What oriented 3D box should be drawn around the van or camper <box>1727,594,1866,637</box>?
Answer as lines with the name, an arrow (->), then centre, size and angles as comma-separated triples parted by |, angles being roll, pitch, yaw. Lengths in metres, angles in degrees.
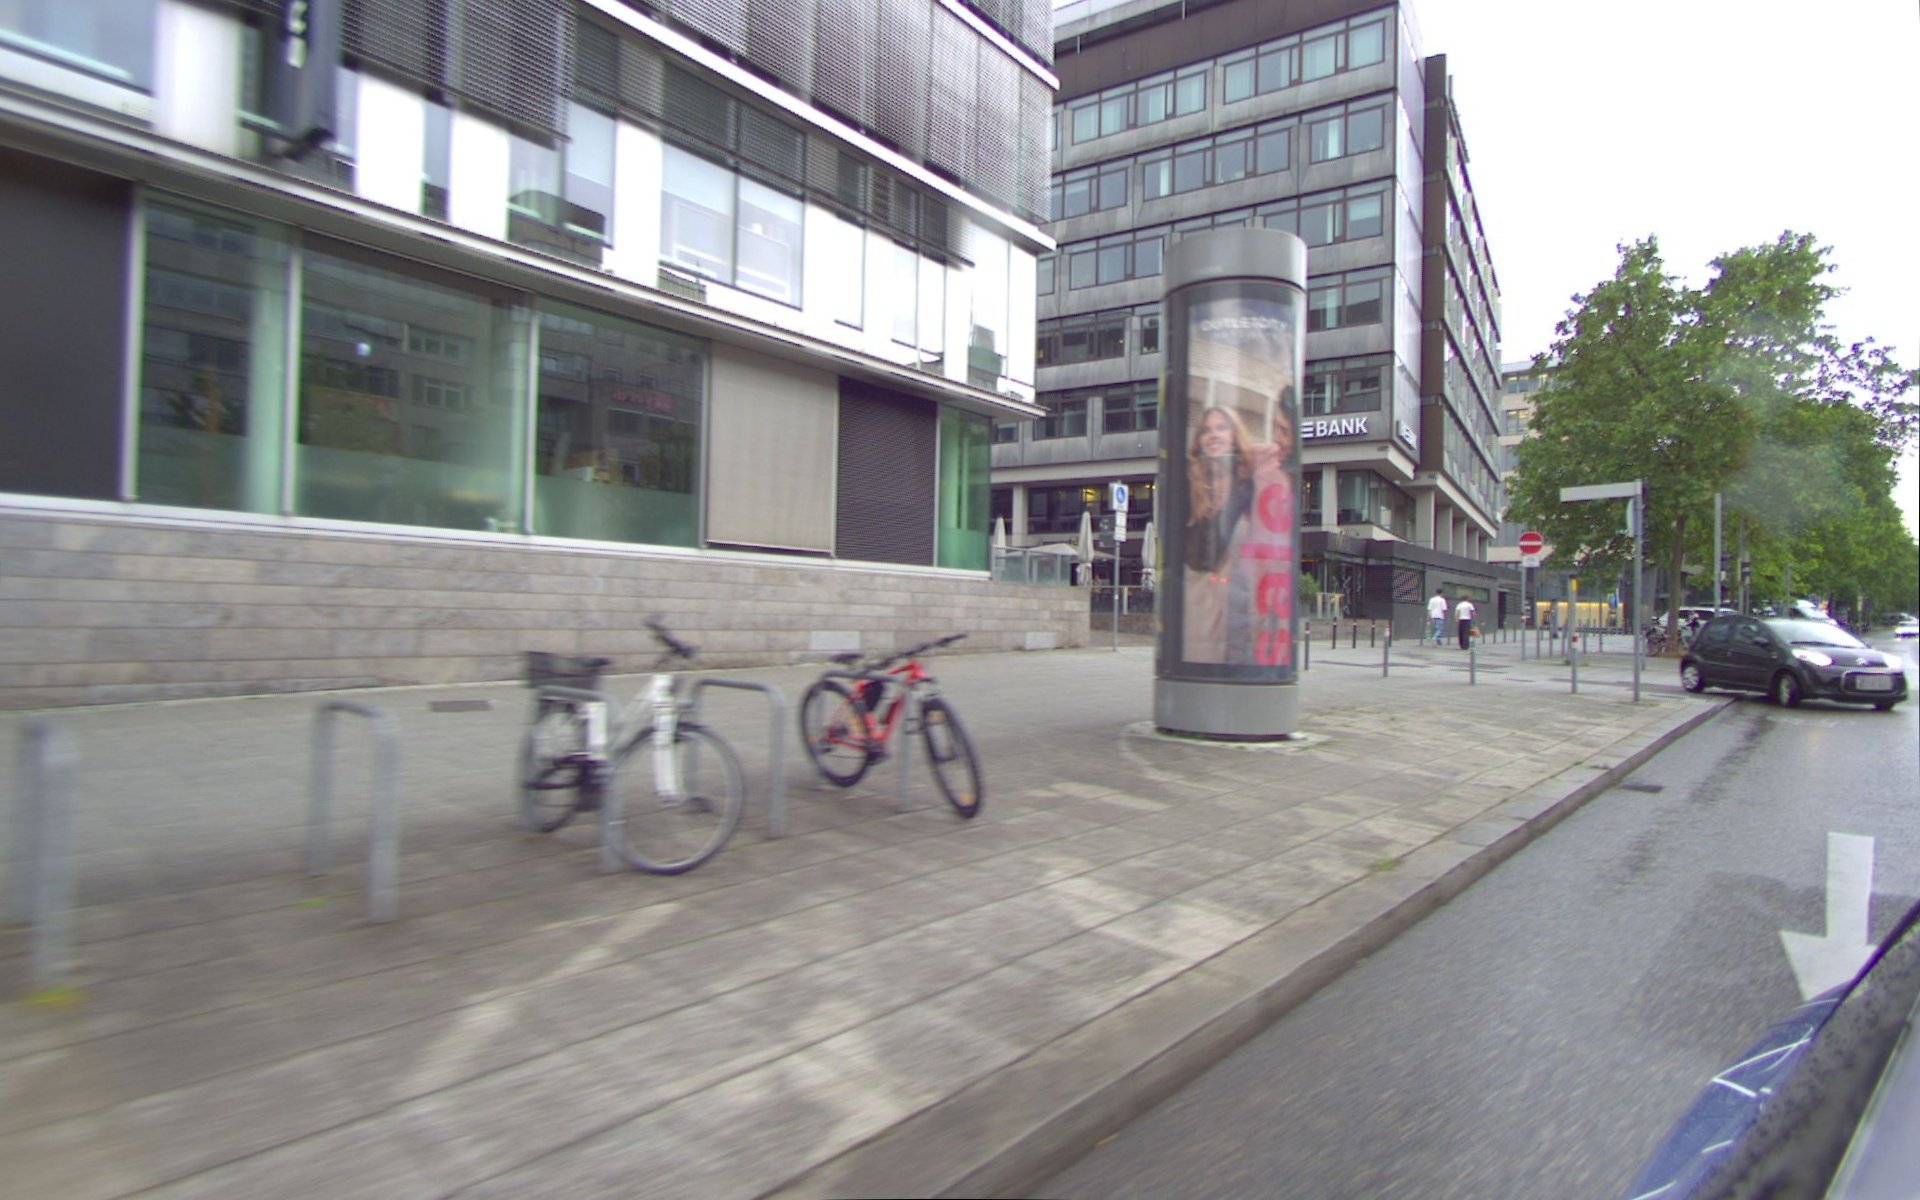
van or camper -> 50.800, 0.930, 61.685 | 2.266, 2.478, 6.278 | 1, -1, -16

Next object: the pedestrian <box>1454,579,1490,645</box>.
pedestrian -> 16.369, 0.383, 32.347 | 0.848, 2.065, 0.742 | -1, -2, 40

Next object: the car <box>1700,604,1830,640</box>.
car -> 37.439, 1.014, 47.223 | 1.876, 1.557, 4.399 | 1, -1, -19

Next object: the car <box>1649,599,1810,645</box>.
car -> 30.006, 0.841, 39.678 | 1.876, 1.671, 4.813 | 1, -1, -16

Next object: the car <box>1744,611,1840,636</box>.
car -> 48.409, 1.357, 58.962 | 1.672, 1.442, 4.069 | 1, -1, -17

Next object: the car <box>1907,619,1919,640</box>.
car -> 83.300, 2.589, 87.601 | 1.784, 1.769, 4.507 | 1, 0, 41

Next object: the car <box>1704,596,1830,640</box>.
car -> 39.269, 0.879, 49.405 | 1.881, 2.018, 4.527 | 1, -1, -17

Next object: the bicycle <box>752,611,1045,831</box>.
bicycle -> -0.460, 0.662, 6.436 | 0.794, 1.118, 1.986 | 1, 0, -42

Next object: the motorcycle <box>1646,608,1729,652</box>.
motorcycle -> 23.578, 0.946, 32.827 | 0.665, 1.375, 2.088 | 1, -2, -38

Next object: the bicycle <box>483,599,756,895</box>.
bicycle -> -1.819, 0.631, 5.218 | 0.649, 1.212, 1.839 | 1, 1, -42

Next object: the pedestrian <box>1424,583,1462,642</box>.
pedestrian -> 15.674, 0.411, 32.855 | 0.882, 1.892, 0.802 | 1, -2, -39

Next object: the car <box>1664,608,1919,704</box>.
car -> 13.956, 0.851, 17.051 | 1.605, 1.435, 3.831 | 0, 0, 3

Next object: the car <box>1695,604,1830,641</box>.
car -> 35.670, 0.990, 45.121 | 1.876, 1.557, 4.366 | 1, -1, -19
